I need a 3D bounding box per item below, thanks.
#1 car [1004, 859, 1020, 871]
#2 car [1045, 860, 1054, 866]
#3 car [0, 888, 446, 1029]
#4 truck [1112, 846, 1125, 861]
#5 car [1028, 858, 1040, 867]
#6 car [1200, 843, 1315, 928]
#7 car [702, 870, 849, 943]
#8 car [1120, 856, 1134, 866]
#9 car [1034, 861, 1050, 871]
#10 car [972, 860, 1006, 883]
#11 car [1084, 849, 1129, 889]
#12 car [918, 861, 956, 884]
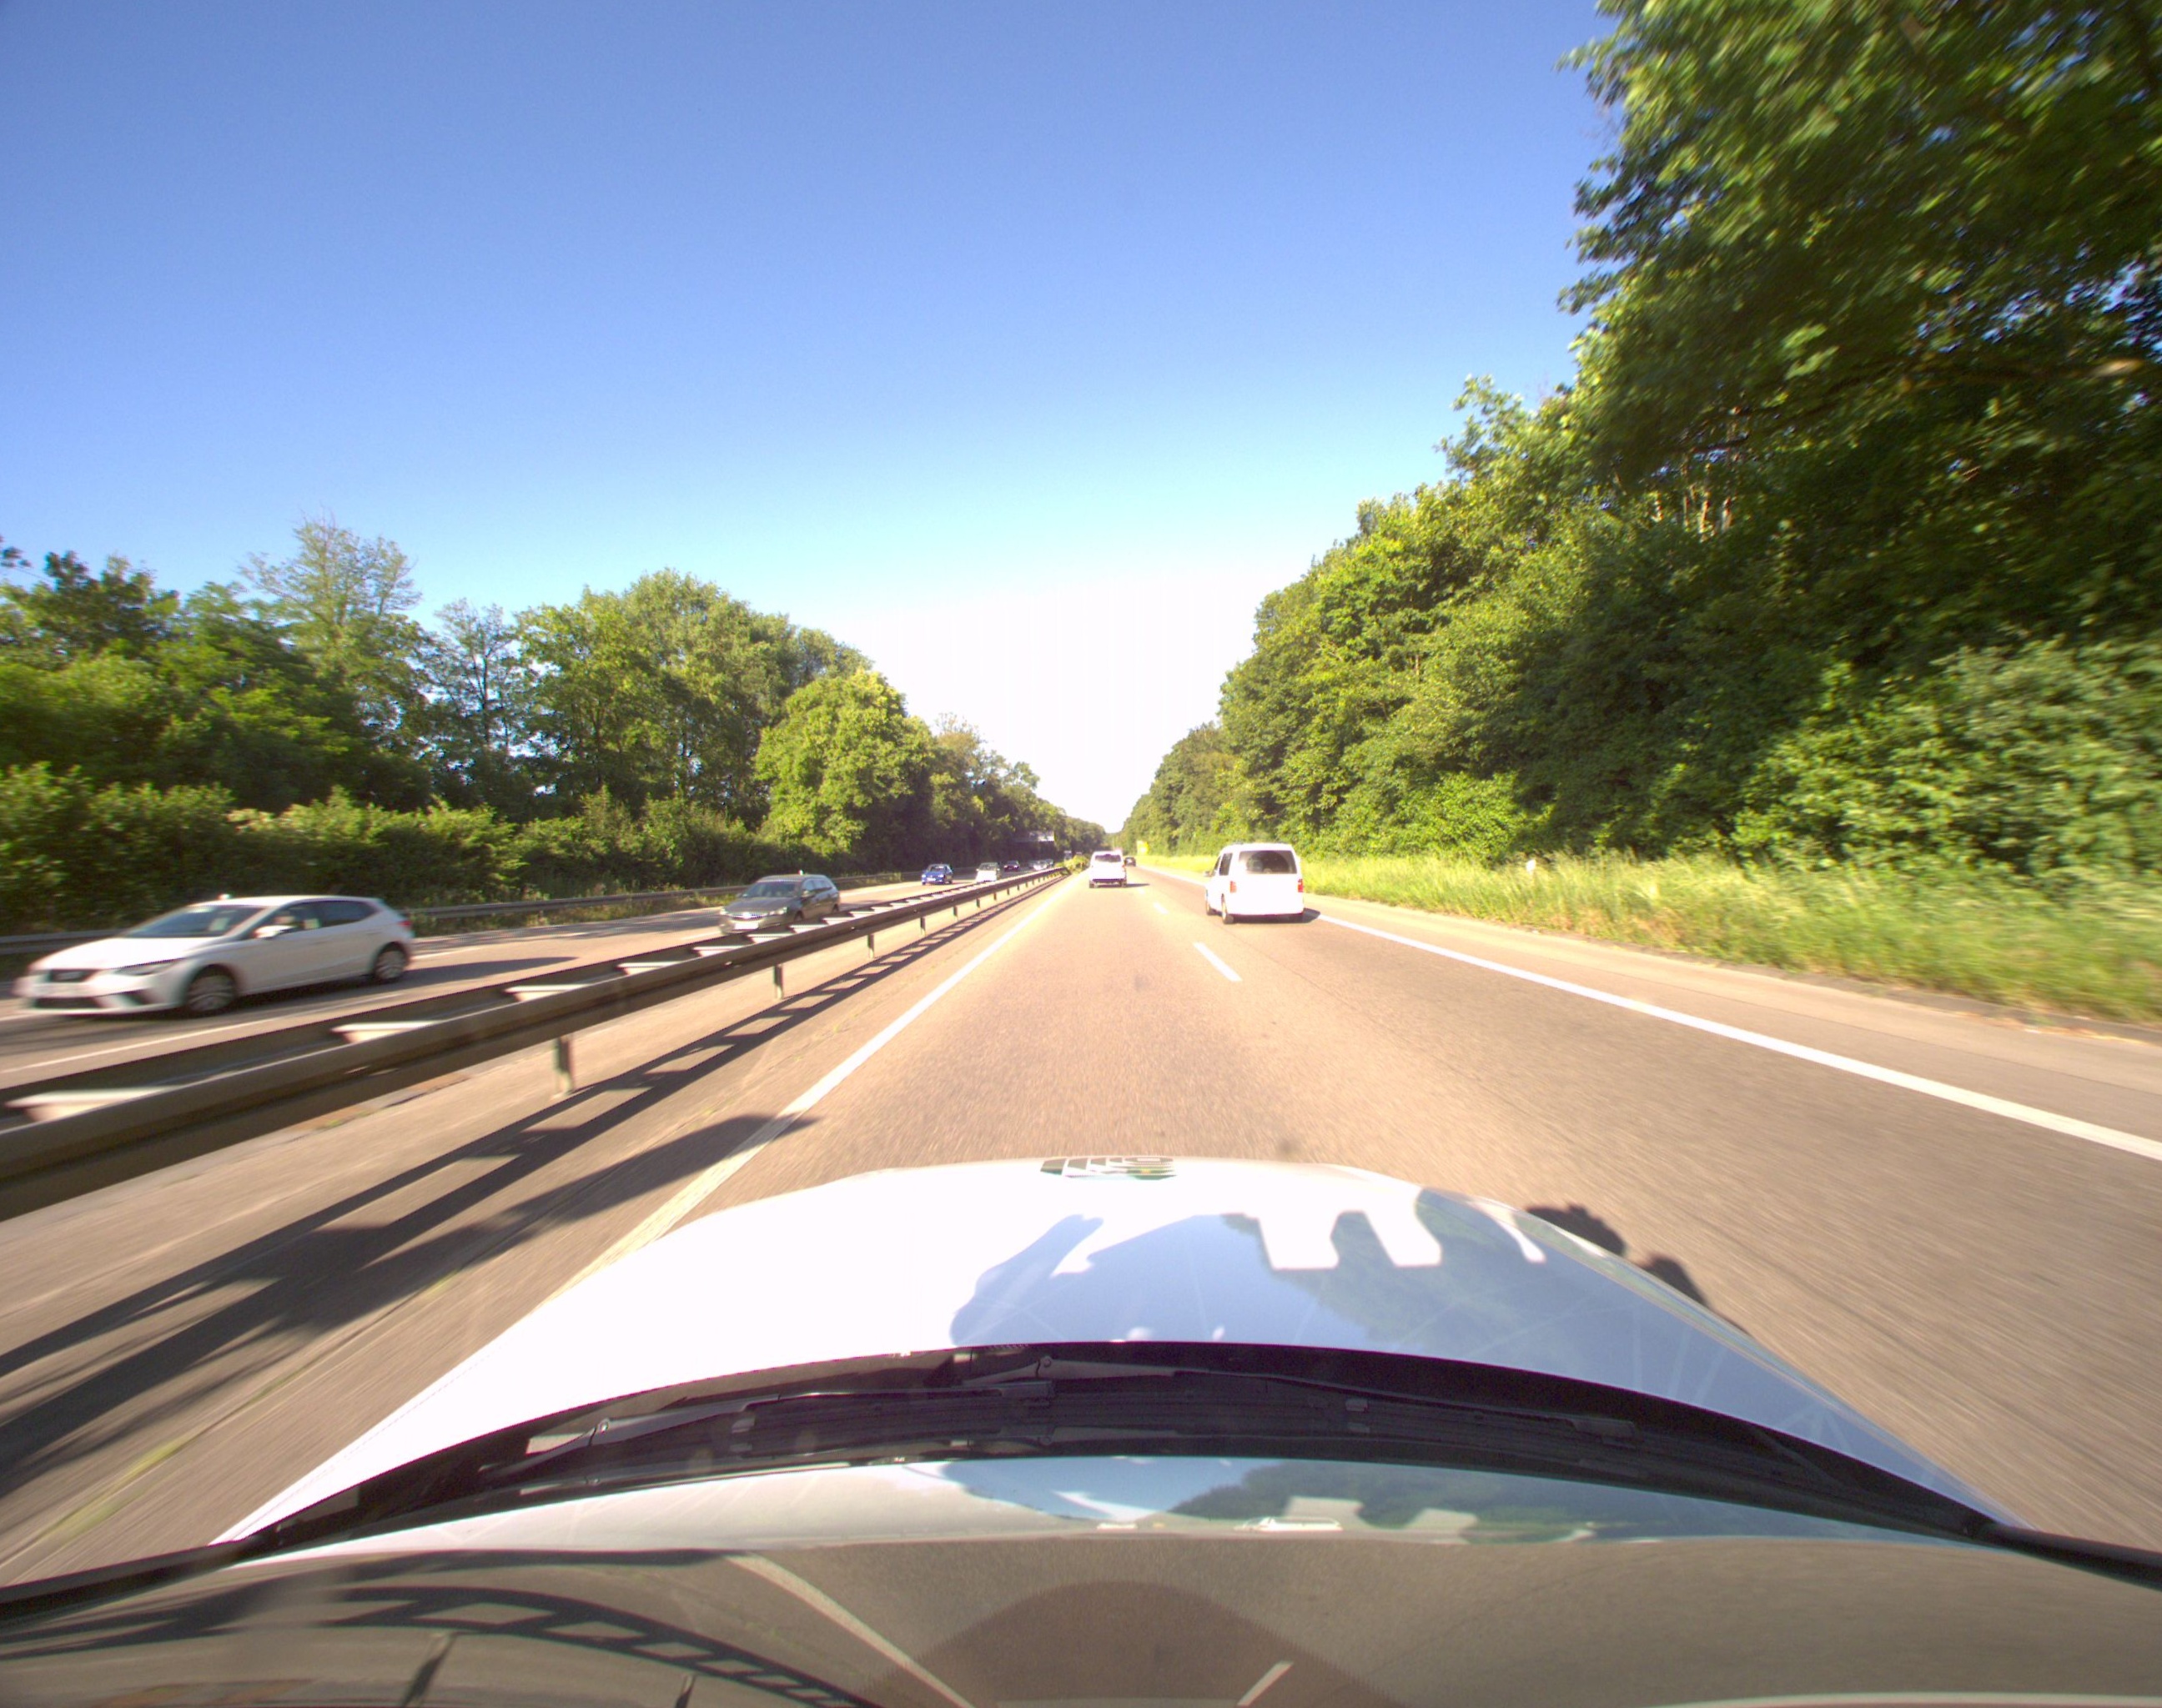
[{"bbox_3d":[-9.310,1.460,109.737,1.712,1.445,4.229,-2,0,1],"label":"car"},{"bbox_3d":[-6.499,1.863,168.476,1.711,1.357,3.948,-1,-1,2],"label":"car"},{"bbox_3d":[-11.834,1.315,11.695,1.953,1.450,4.327,0,0,1],"label":"car"},{"bbox_3d":[11.026,-0.097,237.393,3.483,4.172,8.864,-2,0,1],"label":"truck"},{"bbox_3d":[-8.061,1.466,140.096,1.712,1.357,4.229,-2,0,1],"label":"car"},{"bbox_3d":[4.068,0.667,19.524,1.857,1.770,4.470,-1,0,1],"label":"car"},{"bbox_3d":[-7.607,1.237,20.804,1.953,1.540,4.466,-1,0,1],"label":"car"},{"bbox_3d":[6.948,1.025,123.063,1.986,1.398,4.001,-1,0,1],"label":"car"},{"bbox_3d":[-5.307,1.595,110.244,1.829,1.357,4.475,-1,0,1],"label":"car"},{"bbox_3d":[-6.658,1.216,59.420,1.870,1.540,4.466,-2,0,1],"label":"car"},{"bbox_3d":[1.205,0.721,40.797,2.079,1.828,3.999,-1,0,0],"label":"car"},{"bbox_3d":[-10.369,1.315,58.920,1.829,1.540,4.431,-1,0,1],"label":"car"}]
